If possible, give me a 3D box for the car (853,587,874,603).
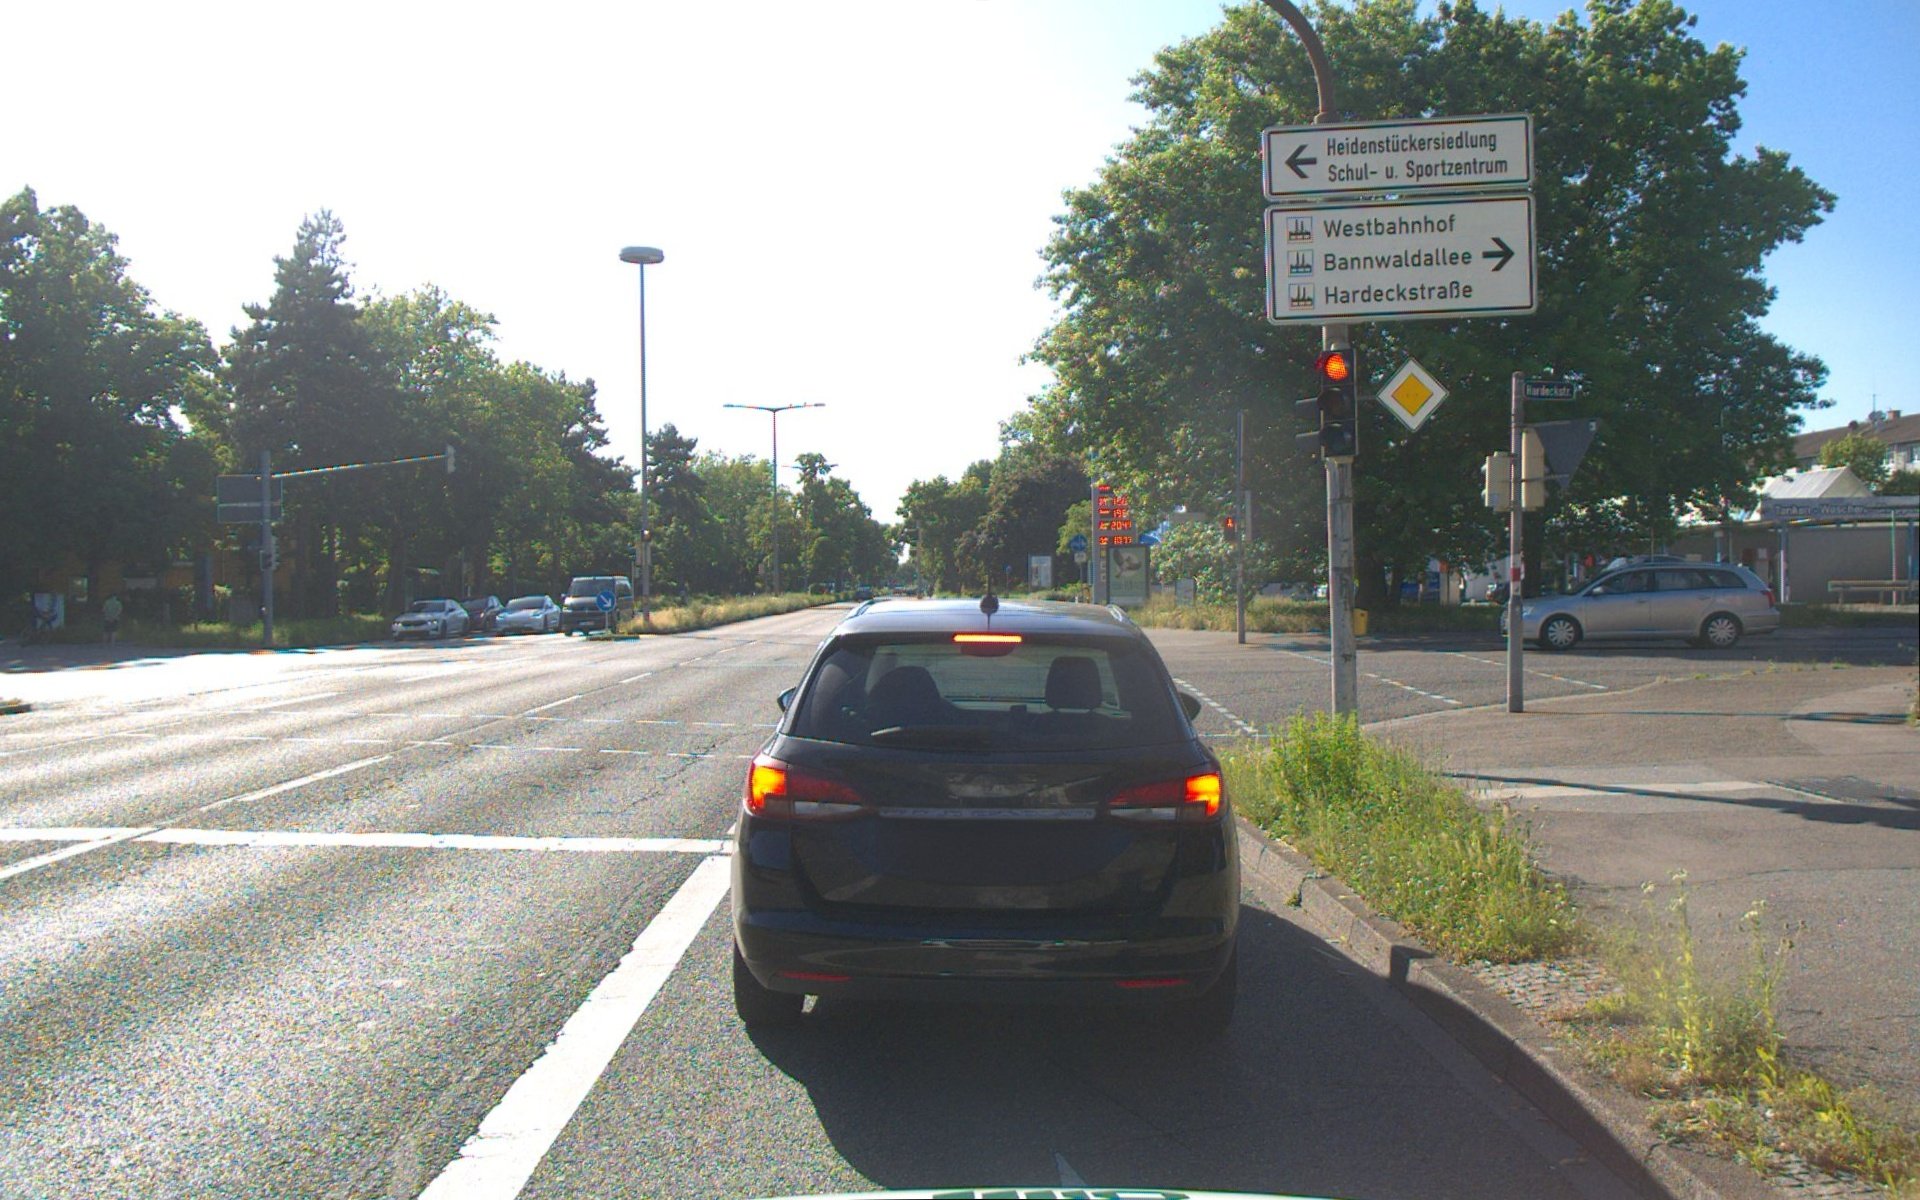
[{"bbox_3d":[-9.748,-0.491,167.292,1.850,1.579,3.999,-1,0,-1],"label":"car"}]

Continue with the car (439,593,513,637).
[{"bbox_3d":[-20.258,0.623,69.405,1.953,1.780,3.999,1,0,-1],"label":"car"}]

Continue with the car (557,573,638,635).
[{"bbox_3d":[-12.601,0.153,57.687,1.953,2.049,3.999,1,0,-1],"label":"car"}]

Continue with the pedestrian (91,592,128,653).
[{"bbox_3d":[-26.843,0.708,52.212,0.828,1.867,0.550,-1,0,3],"label":"pedestrian"}]

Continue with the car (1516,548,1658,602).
[{"bbox_3d":[18.958,-0.727,50.042,3.779,1.508,1.794,1,0,-20],"label":"car"}]

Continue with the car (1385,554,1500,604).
[{"bbox_3d":[16.639,-0.696,56.986,3.800,1.590,1.785,2,0,-33],"label":"car"}]

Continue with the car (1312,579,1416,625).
[{"bbox_3d":[15.909,0.084,65.195,3.638,1.714,1.703,1,0,-4],"label":"car"}]

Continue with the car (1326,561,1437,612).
[{"bbox_3d":[15.110,-0.474,59.237,3.668,1.714,1.689,1,0,-28],"label":"car"}]

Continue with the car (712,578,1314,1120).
[{"bbox_3d":[0.120,0.712,6.626,1.720,1.535,3.807,0,0,-1],"label":"car"}]

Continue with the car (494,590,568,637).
[{"bbox_3d":[-16.383,0.505,63.301,1.826,1.713,3.999,-1,0,-1],"label":"car"}]

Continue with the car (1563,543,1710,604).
[{"bbox_3d":[19.755,-0.752,48.297,3.779,1.640,1.794,1,0,-20],"label":"car"}]

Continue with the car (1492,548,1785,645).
[{"bbox_3d":[12.026,-0.043,29.618,4.519,1.601,2.002,-1,-1,10],"label":"car"}]

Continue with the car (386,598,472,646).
[{"bbox_3d":[-19.694,0.796,61.548,1.826,1.713,4.259,1,0,-1],"label":"car"}]

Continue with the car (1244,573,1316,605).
[{"bbox_3d":[17.859,-0.618,92.469,3.638,1.714,1.703,1,0,-4],"label":"car"}]
